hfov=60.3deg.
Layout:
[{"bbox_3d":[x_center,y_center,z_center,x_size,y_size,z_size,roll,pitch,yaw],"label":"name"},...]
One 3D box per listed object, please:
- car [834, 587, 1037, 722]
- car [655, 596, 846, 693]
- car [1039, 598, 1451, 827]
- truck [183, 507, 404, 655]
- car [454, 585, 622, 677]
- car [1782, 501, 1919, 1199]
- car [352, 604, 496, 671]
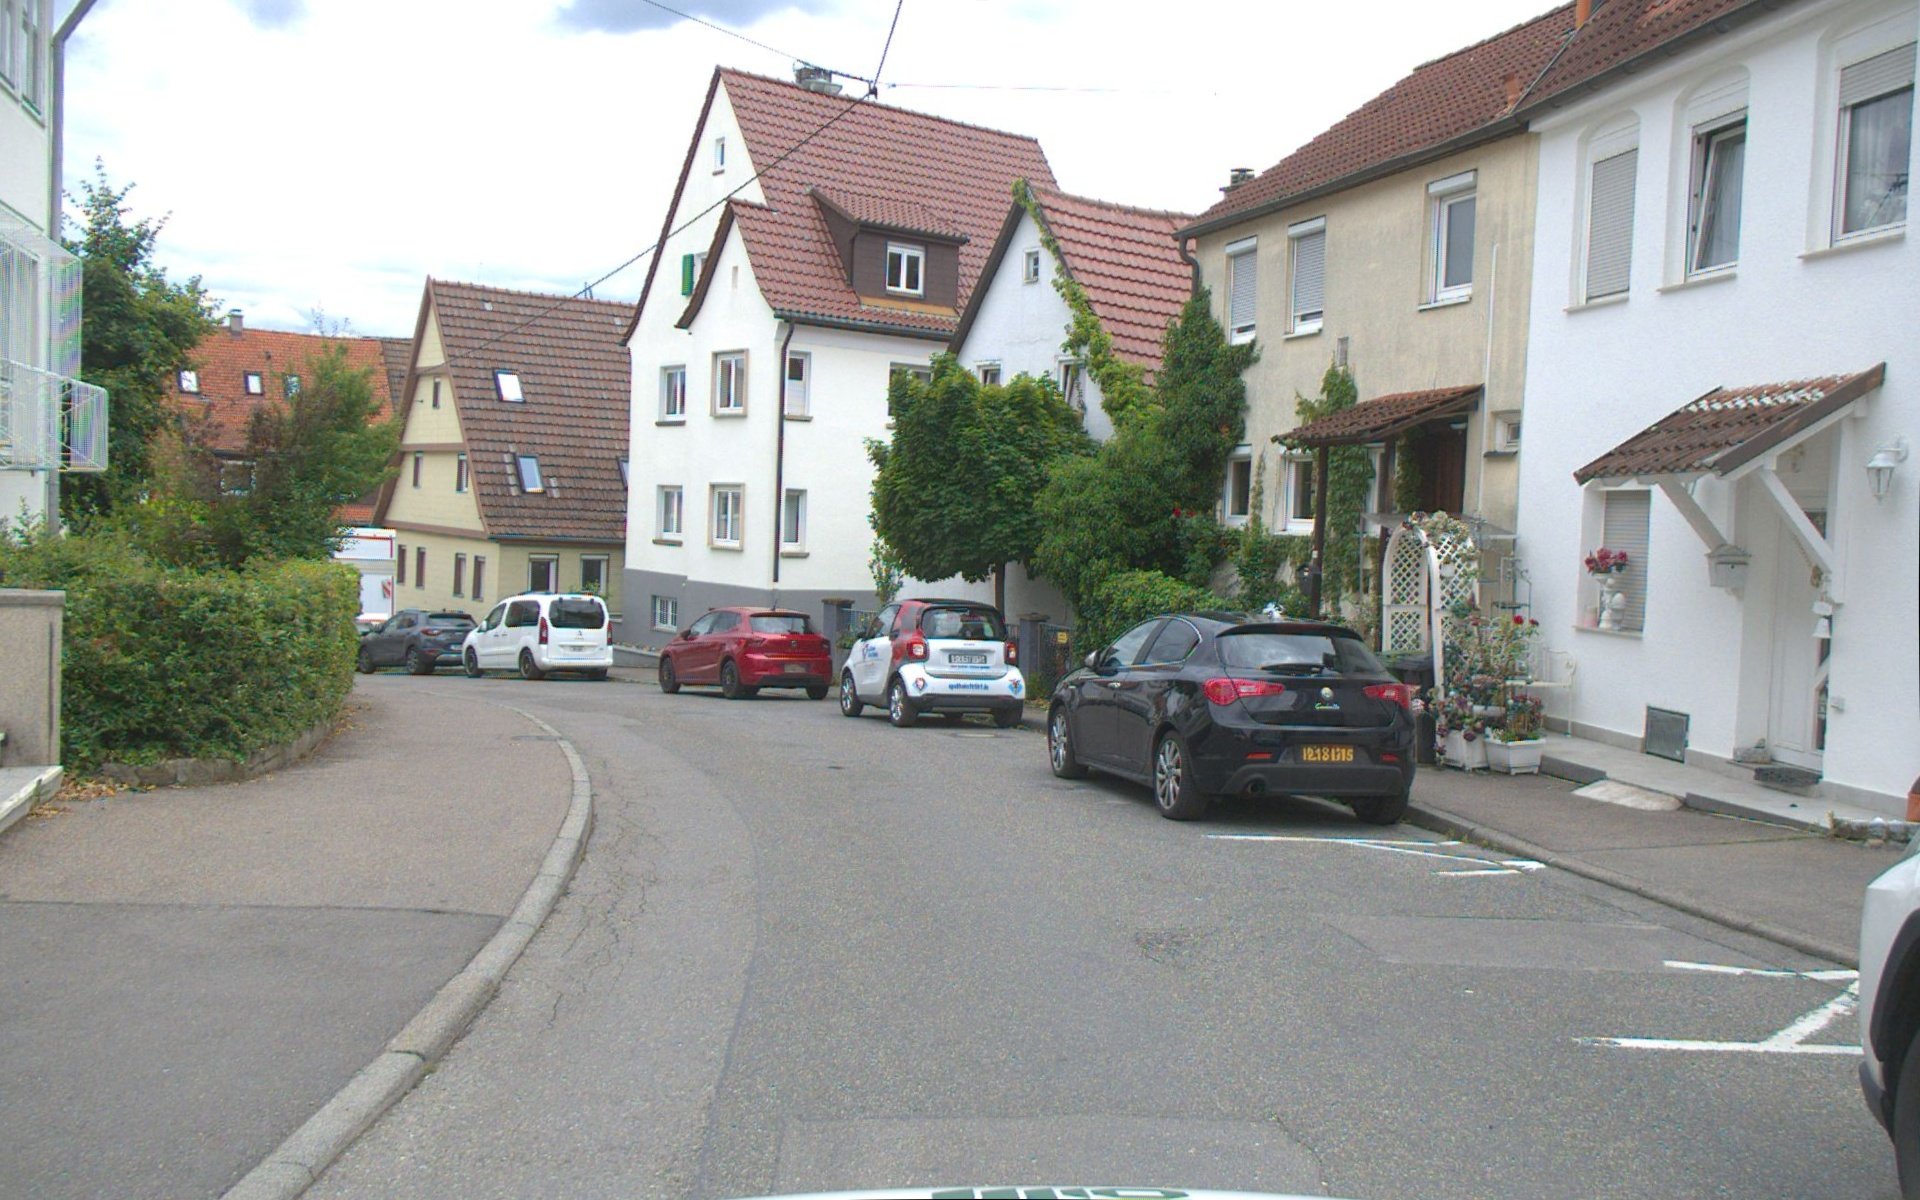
[{"bbox_3d":[-0.378,0.673,21.215,1.589,1.559,2.876,3,-2,-23],"label":"car"},{"bbox_3d":[-3.518,0.717,27.286,1.663,1.477,3.808,1,-1,-33],"label":"car"},{"bbox_3d":[2.014,0.761,12.930,1.689,1.431,3.988,2,0,-14],"label":"car"},{"bbox_3d":[-18.178,-0.430,44.812,7.969,3.660,2.666,-1,-1,45],"label":"truck"},{"bbox_3d":[-9.136,0.661,35.642,1.824,1.846,4.240,2,-2,-41],"label":"car"},{"bbox_3d":[3.191,0.707,2.132,1.907,1.668,4.460,3,2,-1],"label":"car"},{"bbox_3d":[-12.860,0.917,39.579,1.725,1.533,3.985,2,-3,-44],"label":"car"}]
